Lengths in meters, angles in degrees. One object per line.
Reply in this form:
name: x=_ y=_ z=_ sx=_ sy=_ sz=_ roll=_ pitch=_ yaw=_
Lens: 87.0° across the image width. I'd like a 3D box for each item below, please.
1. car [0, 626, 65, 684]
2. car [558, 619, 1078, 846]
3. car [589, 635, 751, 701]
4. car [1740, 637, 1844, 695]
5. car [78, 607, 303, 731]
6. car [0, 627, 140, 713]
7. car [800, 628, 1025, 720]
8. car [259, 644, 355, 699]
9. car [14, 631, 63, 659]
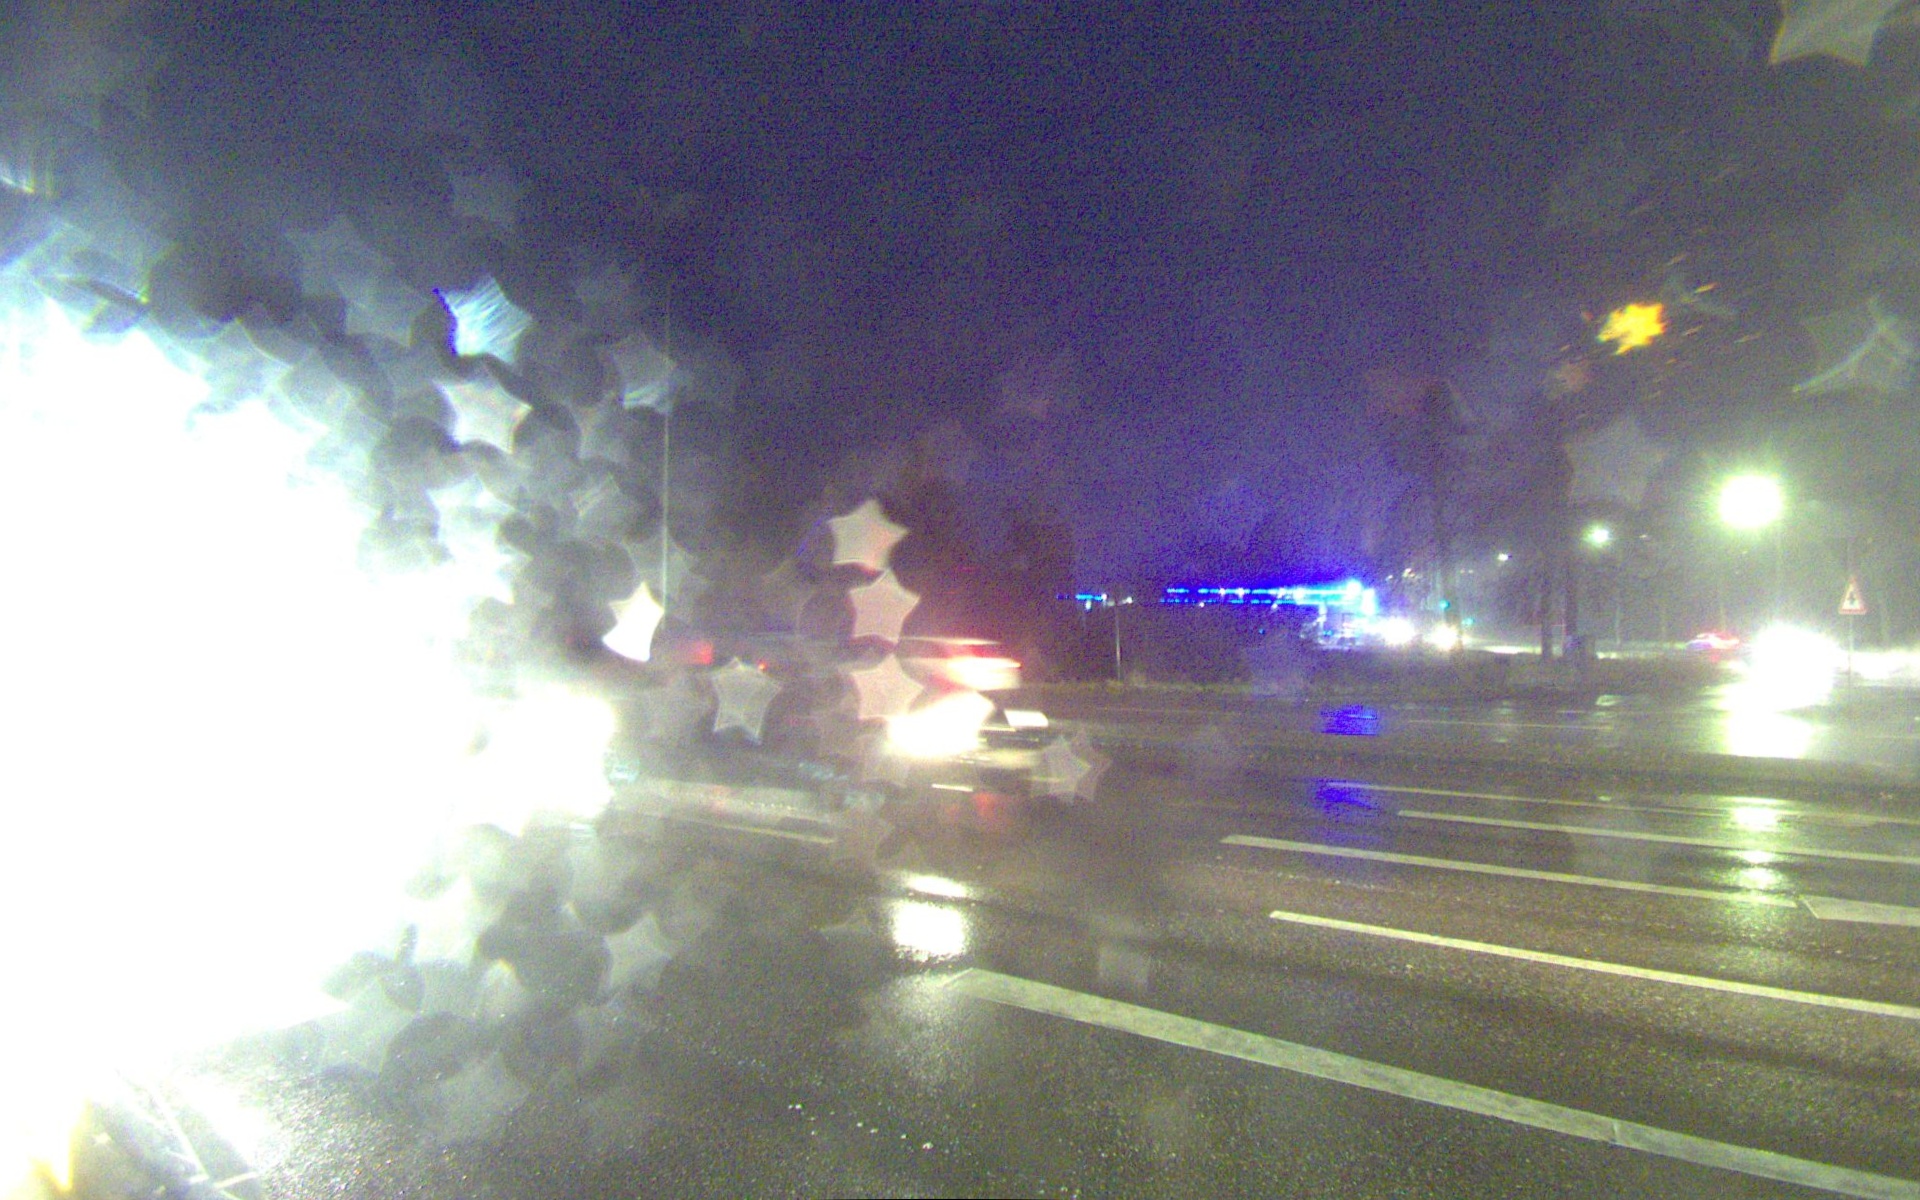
car: x=-26.701 y=1.501 z=28.543 sx=4.172 sy=1.456 sz=1.658 roll=-1 pitch=-1 yaw=41
car: x=-1.279 y=0.905 z=8.300 sx=4.112 sy=1.419 sz=1.814 roll=-2 pitch=-2 yaw=35
car: x=-8.622 y=1.957 z=29.958 sx=4.771 sy=1.806 sz=2.013 roll=-2 pitch=-2 yaw=33
car: x=34.007 y=2.652 z=41.477 sx=1.647 sy=2.095 sz=3.983 roll=-1 pitch=0 yaw=13
car: x=-13.258 y=1.066 z=17.336 sx=4.716 sy=1.806 sz=1.974 roll=-1 pitch=0 yaw=39
car: x=-19.891 y=1.471 z=22.425 sx=4.233 sy=1.607 sz=1.766 roll=1 pitch=-1 yaw=39
car: x=-1.031 y=1.471 z=21.206 sx=4.446 sy=1.733 sz=1.886 roll=-1 pitch=-3 yaw=33
car: x=-25.201 y=2.694 z=39.010 sx=4.204 sy=1.848 sz=1.973 roll=-1 pitch=-1 yaw=40
car: x=-62.836 y=3.040 z=68.967 sx=4.634 sy=1.751 sz=1.835 roll=-1 pitch=-1 yaw=39
